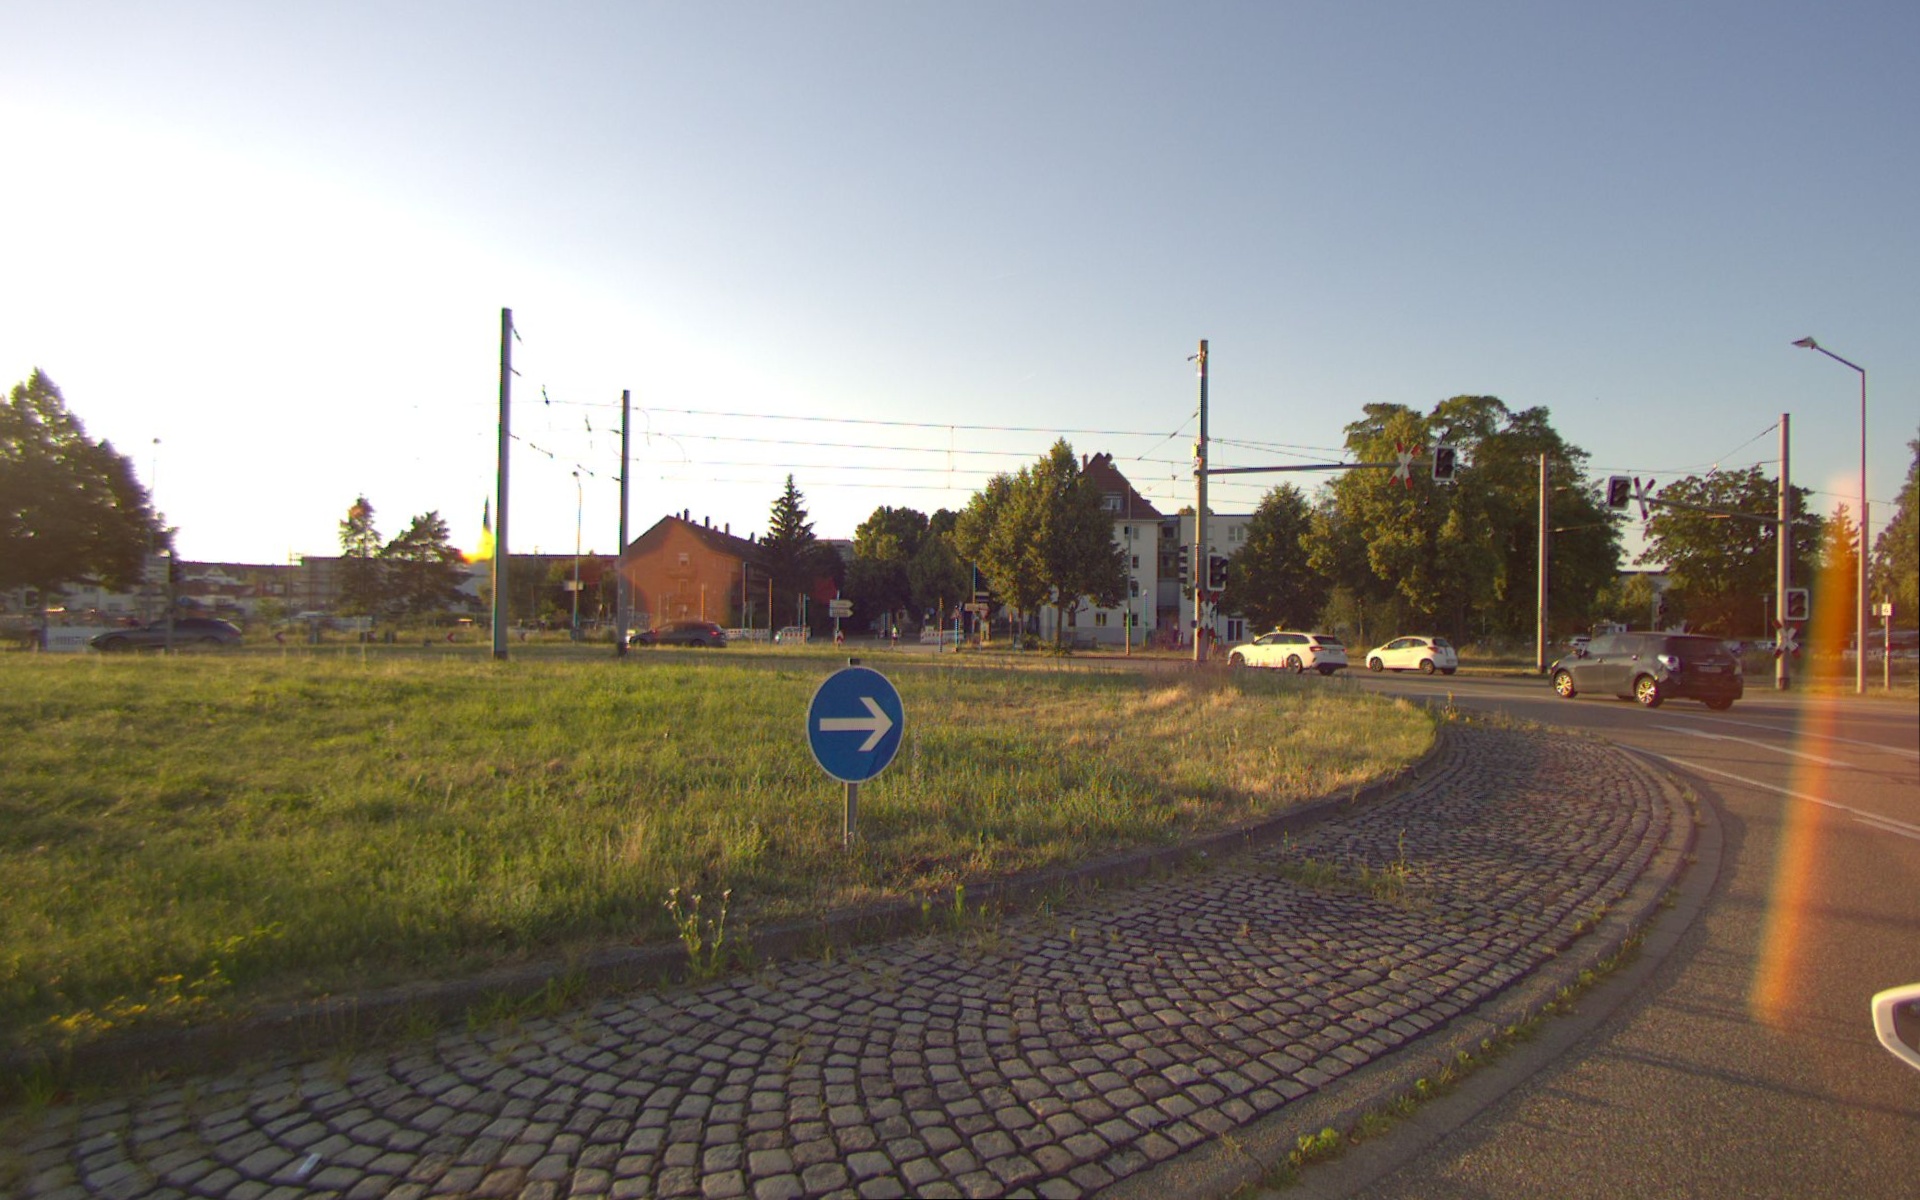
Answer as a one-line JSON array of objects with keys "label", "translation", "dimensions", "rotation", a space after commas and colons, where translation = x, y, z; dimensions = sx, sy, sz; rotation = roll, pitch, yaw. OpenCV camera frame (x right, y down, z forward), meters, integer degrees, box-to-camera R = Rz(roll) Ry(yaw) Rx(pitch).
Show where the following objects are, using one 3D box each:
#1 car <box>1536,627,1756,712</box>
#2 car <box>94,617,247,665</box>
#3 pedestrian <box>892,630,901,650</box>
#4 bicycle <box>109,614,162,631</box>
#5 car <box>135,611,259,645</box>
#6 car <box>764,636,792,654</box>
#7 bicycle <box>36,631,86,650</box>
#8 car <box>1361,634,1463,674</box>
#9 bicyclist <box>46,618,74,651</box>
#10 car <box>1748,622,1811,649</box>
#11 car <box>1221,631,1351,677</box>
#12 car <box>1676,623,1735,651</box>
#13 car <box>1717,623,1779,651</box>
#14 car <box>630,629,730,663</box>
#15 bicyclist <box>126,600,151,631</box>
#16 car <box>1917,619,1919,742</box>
[{"label": "car", "translation": [15.366, 1.496, 22.851], "dimensions": [1.769, 1.654, 4.454], "rotation": [2, -1, -3]}, {"label": "car", "translation": [-30.772, 1.561, 39.349], "dimensions": [4.548, 1.771, 1.736], "rotation": [1, -1, -33]}, {"label": "pedestrian", "translation": [-4.595, 2.885, 72.350], "dimensions": [0.541, 1.392, 0.356], "rotation": [1, -1, -26]}, {"label": "bicycle", "translation": [-44.042, 1.204, 53.681], "dimensions": [2.102, 0.857, 0.510], "rotation": [0, -1, -19]}, {"label": "car", "translation": [-34.311, 1.249, 45.273], "dimensions": [4.065, 1.465, 1.746], "rotation": [0, -1, -15]}, {"label": "car", "translation": [-15.887, 3.930, 87.920], "dimensions": [1.596, 1.506, 4.001], "rotation": [1, -1, 2]}, {"label": "bicycle", "translation": [-46.672, 2.095, 52.163], "dimensions": [0.539, 0.993, 1.842], "rotation": [0, -1, 26]}, {"label": "car", "translation": [18.281, 2.159, 40.724], "dimensions": [1.539, 1.462, 3.452], "rotation": [2, -1, -35]}, {"label": "bicyclist", "translation": [-46.704, 1.792, 52.121], "dimensions": [0.800, 1.662, 0.814], "rotation": [0, -1, 26]}, {"label": "car", "translation": [65.982, 2.845, 80.965], "dimensions": [1.960, 2.126, 4.001], "rotation": [1, -1, 2]}, {"label": "car", "translation": [11.442, 1.841, 35.592], "dimensions": [1.706, 1.468, 4.517], "rotation": [1, -1, -28]}, {"label": "car", "translation": [60.067, 2.978, 80.994], "dimensions": [1.960, 2.126, 4.001], "rotation": [1, -1, 2]}, {"label": "car", "translation": [63.222, 2.963, 80.652], "dimensions": [1.960, 2.126, 4.001], "rotation": [1, -1, 2]}, {"label": "car", "translation": [-12.675, 2.084, 45.697], "dimensions": [4.054, 1.486, 1.751], "rotation": [0, -1, -2]}, {"label": "bicyclist", "translation": [-43.841, 0.839, 53.621], "dimensions": [0.786, 1.655, 0.693], "rotation": [0, -1, -18]}, {"label": "car", "translation": [14.445, 1.137, 12.066], "dimensions": [1.884, 1.777, 4.925], "rotation": [2, -1, 11]}]
